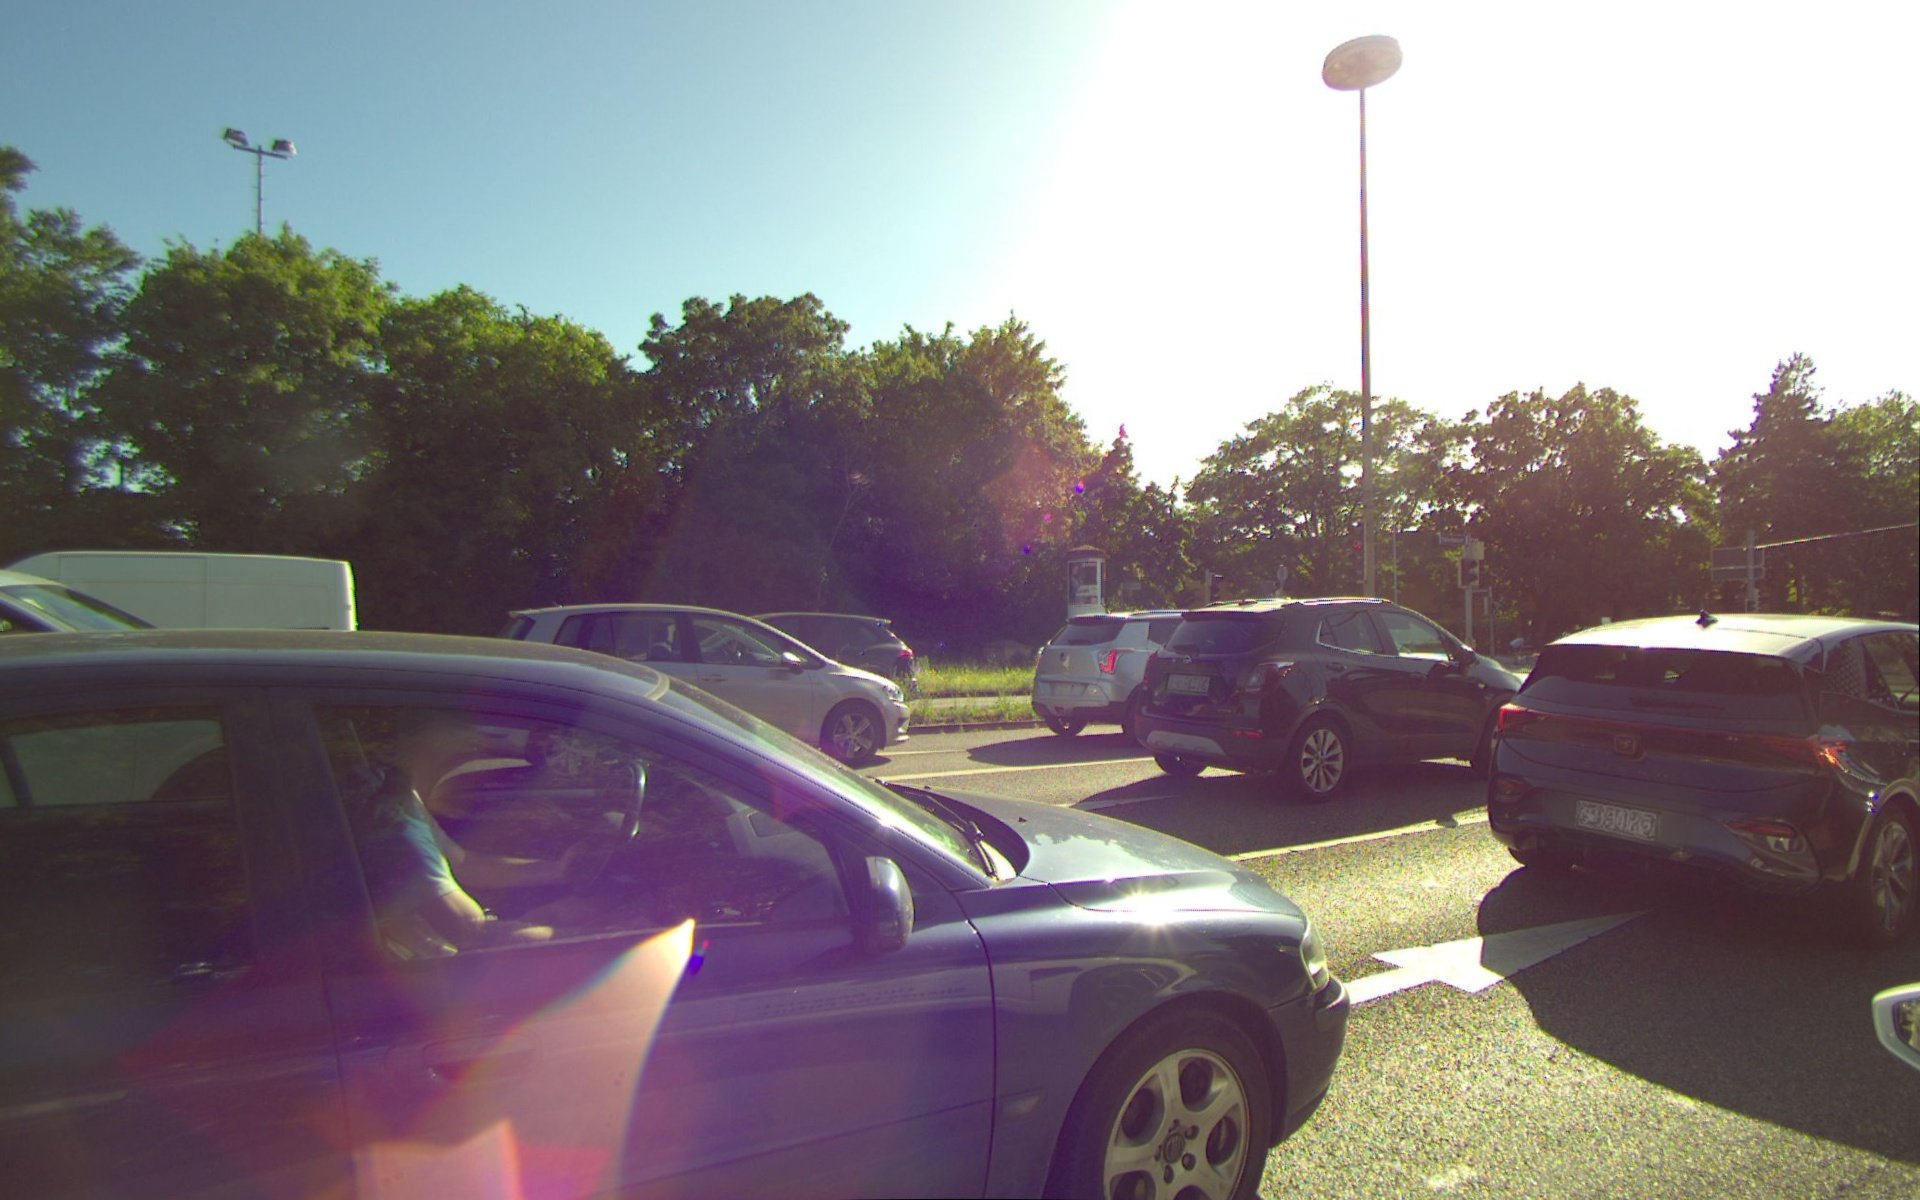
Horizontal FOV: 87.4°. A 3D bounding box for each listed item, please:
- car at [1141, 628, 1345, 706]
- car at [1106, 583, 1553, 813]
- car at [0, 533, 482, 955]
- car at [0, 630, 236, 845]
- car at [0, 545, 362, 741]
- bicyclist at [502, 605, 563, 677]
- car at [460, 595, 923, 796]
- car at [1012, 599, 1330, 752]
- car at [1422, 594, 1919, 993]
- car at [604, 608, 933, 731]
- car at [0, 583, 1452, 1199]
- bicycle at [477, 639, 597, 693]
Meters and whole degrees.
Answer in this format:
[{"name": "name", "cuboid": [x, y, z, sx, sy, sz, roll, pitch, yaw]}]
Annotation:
[{"name": "car", "cuboid": [5.929, 1.339, 20.973, 4.116, 1.482, 1.768, 1, -2, -30]}, {"name": "car", "cuboid": [3.469, 0.792, 9.305, 3.953, 1.711, 1.796, 1, -2, -30]}, {"name": "car", "cuboid": [-4.780, 0.612, 4.795, 4.373, 1.732, 1.984, 1, -2, -30]}, {"name": "car", "cuboid": [-7.913, 0.931, 6.955, 4.499, 1.448, 1.822, 1, -2, -30]}, {"name": "car", "cuboid": [-12.053, 0.600, 14.402, 5.935, 2.525, 2.089, 1, -2, -31]}, {"name": "bicyclist", "cuboid": [-10.206, 0.974, 23.964, 1.187, 1.670, 0.870, 1, -2, -35]}, {"name": "car", "cuboid": [-2.613, 0.840, 10.013, 4.156, 1.632, 1.822, 1, -2, -30]}, {"name": "car", "cuboid": [2.811, 0.915, 13.191, 3.956, 1.724, 1.820, 1, -2, -32]}, {"name": "car", "cuboid": [4.740, 0.831, 5.824, 4.158, 1.601, 1.676, 2, -1, -30]}, {"name": "car", "cuboid": [-2.878, 0.990, 15.362, 4.561, 1.622, 1.984, 1, -2, -30]}, {"name": "car", "cuboid": [-1.096, 0.730, 2.209, 4.404, 1.471, 1.767, 2, 0, -30]}, {"name": "bicycle", "cuboid": [-10.076, 1.543, 23.985, 2.511, 1.228, 0.870, 1, -2, -35]}]
